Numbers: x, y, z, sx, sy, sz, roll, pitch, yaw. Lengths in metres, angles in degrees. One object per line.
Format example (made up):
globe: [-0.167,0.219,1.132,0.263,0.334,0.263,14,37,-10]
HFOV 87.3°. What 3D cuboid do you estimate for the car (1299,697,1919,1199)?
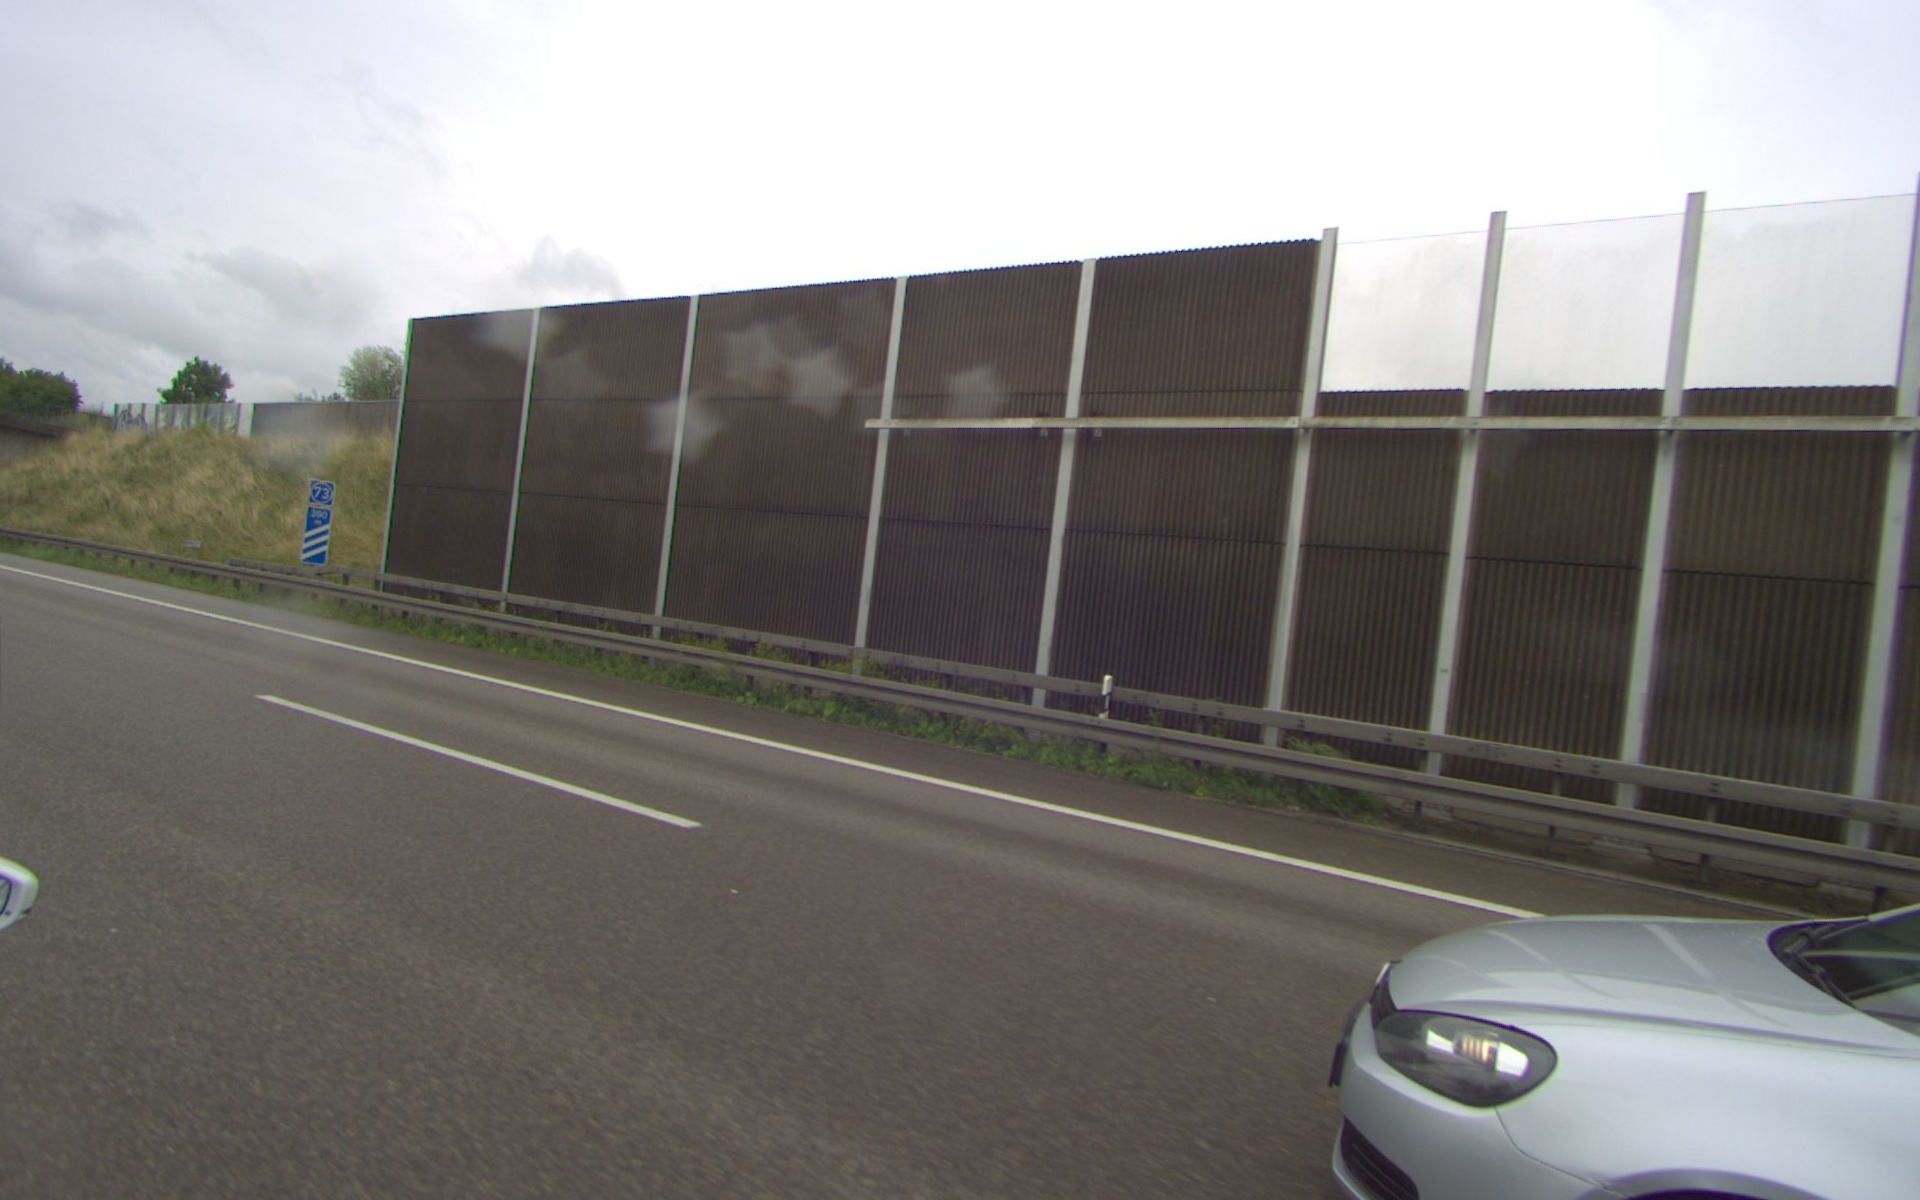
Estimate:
car: [3.112,1.214,1.799,4.442,1.442,1.745,6,-1,31]
